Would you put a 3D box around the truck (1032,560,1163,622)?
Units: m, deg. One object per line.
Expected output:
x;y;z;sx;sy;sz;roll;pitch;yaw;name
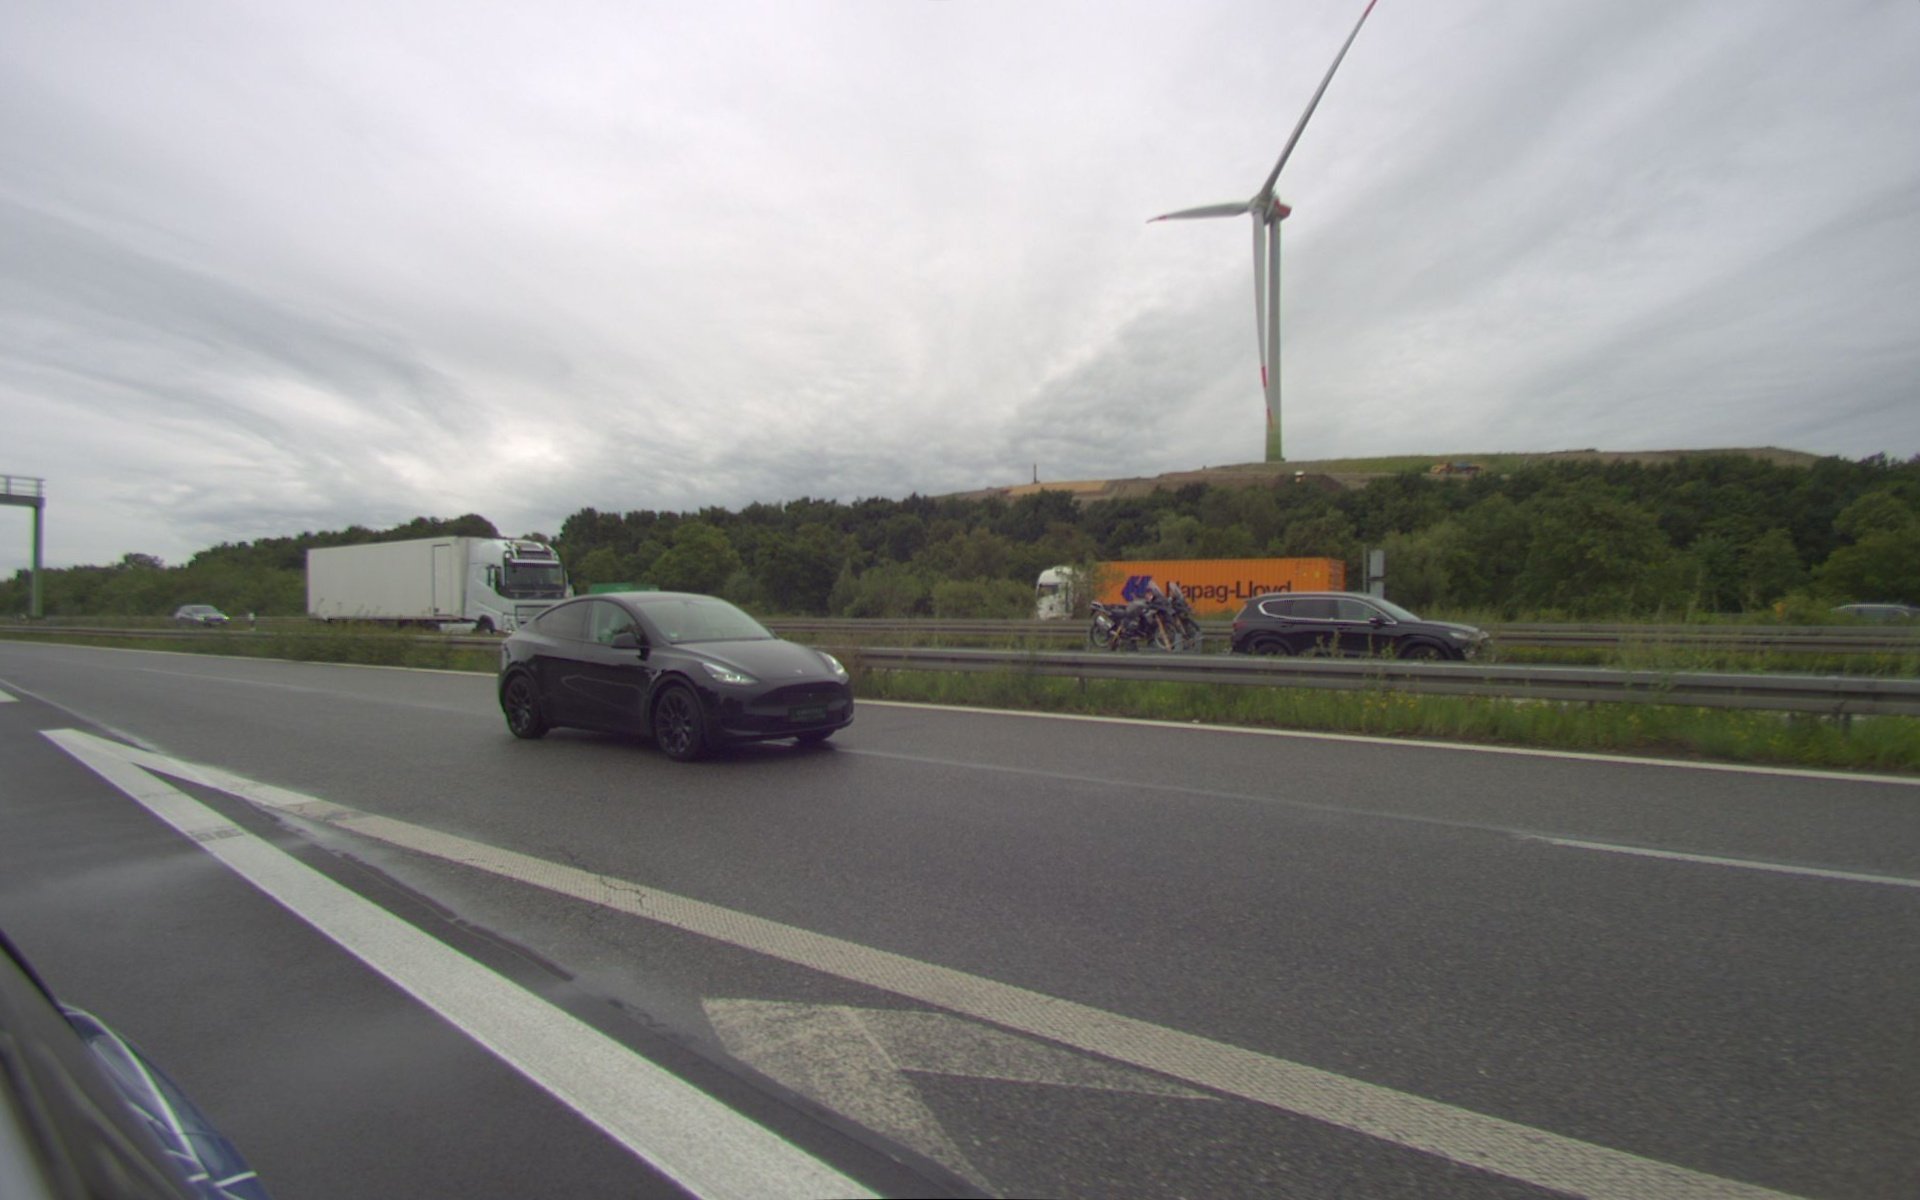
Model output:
7.260;-0.467;53.723;6.445;3.096;2.660;0;1;38;truck

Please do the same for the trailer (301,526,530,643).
-22.570;-0.495;41.282;13.930;4.166;2.740;-1;0;38;trailer

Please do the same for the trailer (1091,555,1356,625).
12.561;-0.470;49.624;12.548;3.096;2.660;0;1;38;trailer

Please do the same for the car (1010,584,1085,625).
5.226;0.283;60.498;3.993;2.394;2.004;-1;0;37;car

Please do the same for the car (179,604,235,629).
-51.098;1.125;68.628;4.477;1.663;1.881;-1;0;37;car

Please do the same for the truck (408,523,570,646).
-17.419;-0.497;37.303;6.435;4.166;2.740;-1;0;38;truck

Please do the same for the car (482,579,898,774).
-2.997;0.634;10.749;4.548;1.650;1.942;0;1;38;car

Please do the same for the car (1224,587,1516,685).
7.622;0.591;19.076;4.800;1.638;1.864;0;1;38;car

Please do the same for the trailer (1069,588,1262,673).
4.365;0.591;21.619;3.606;1.638;1.864;0;1;38;trailer

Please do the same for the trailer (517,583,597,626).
-33.856;0.378;84.941;7.259;3.429;2.932;-1;0;37;trailer

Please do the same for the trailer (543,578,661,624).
-28.855;0.126;81.174;11.783;3.429;2.932;-1;0;37;trailer
